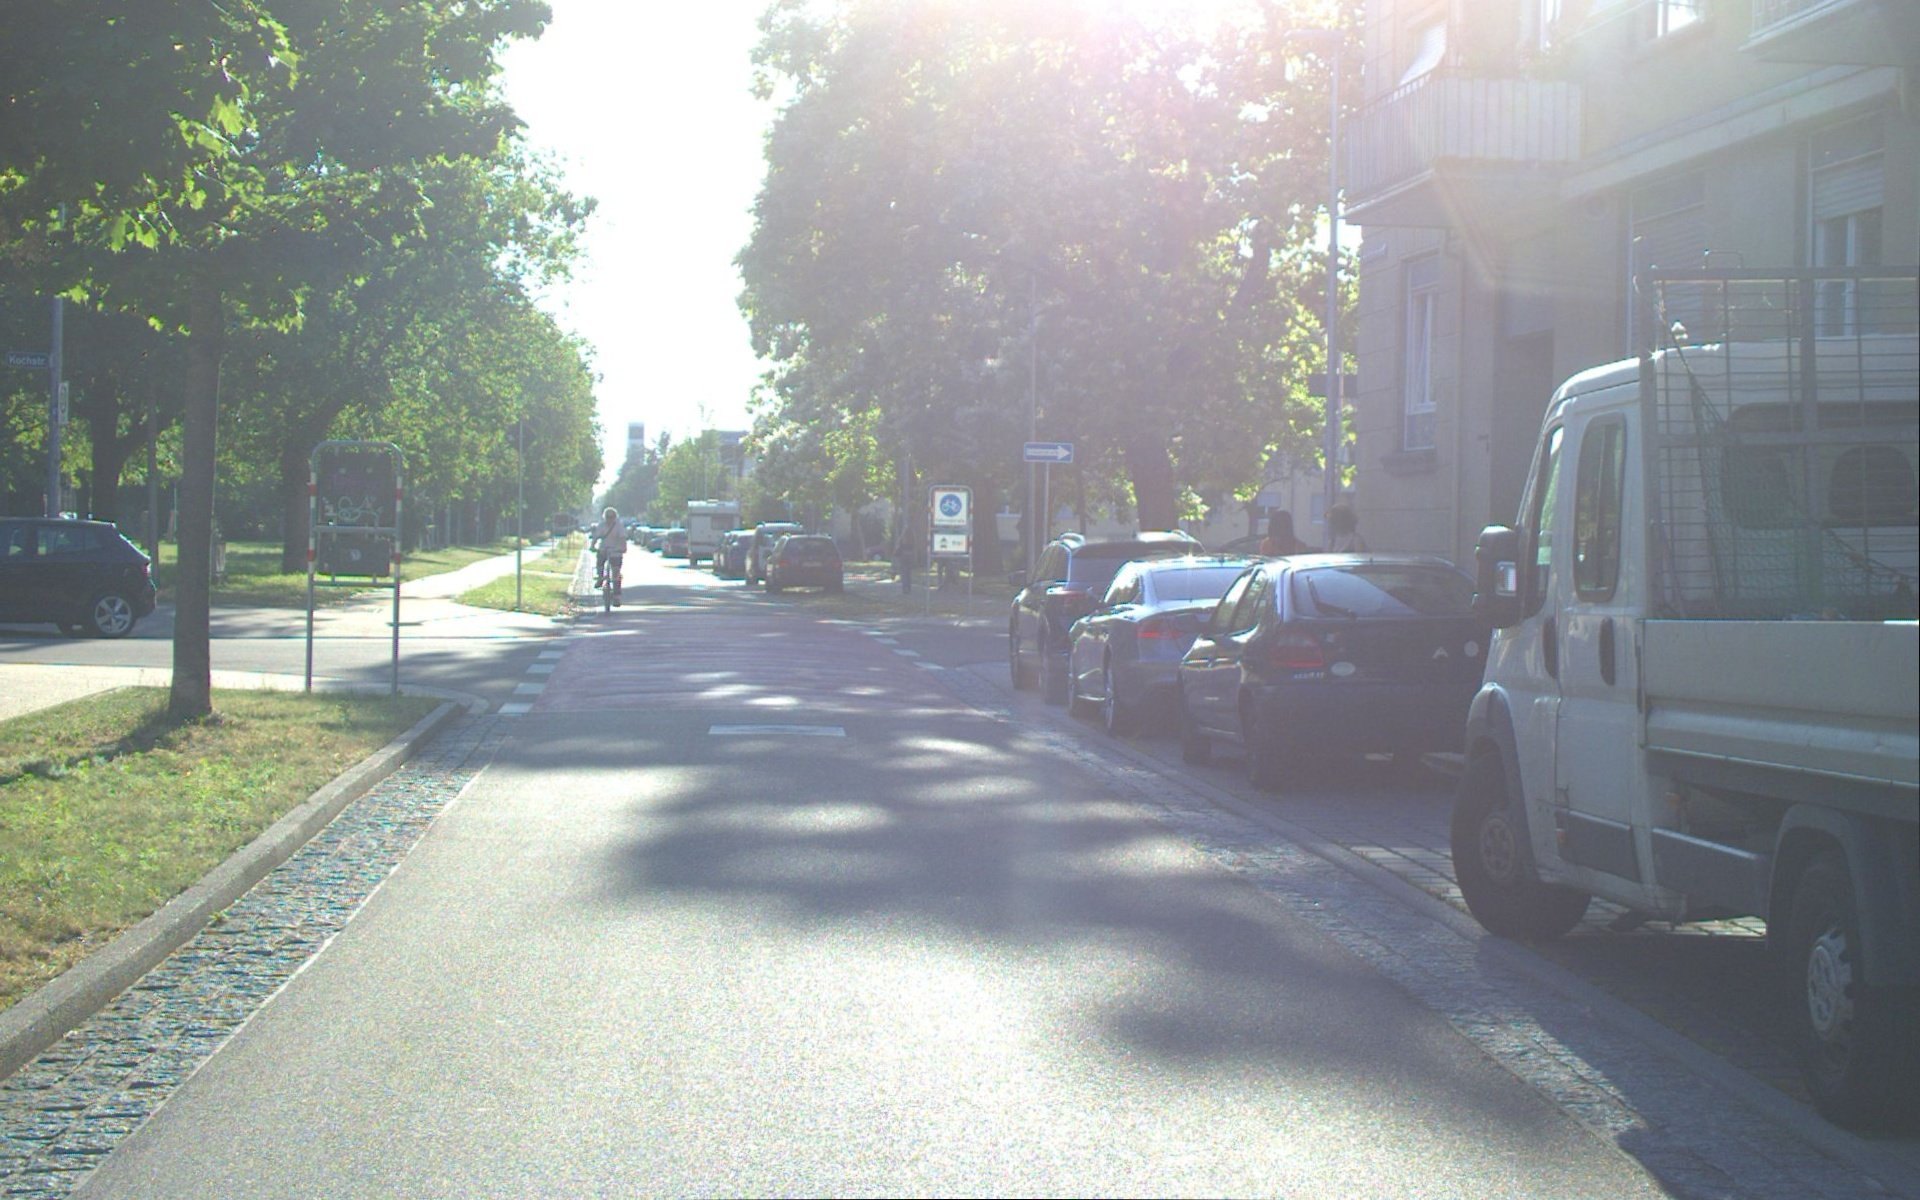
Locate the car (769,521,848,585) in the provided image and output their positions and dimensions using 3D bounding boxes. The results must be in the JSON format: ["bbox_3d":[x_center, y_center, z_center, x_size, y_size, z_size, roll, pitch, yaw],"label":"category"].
[{"bbox_3d":[-3.751,-1.190,85.591,1.793,1.504,4.000,2,1,-1],"label":"car"}]

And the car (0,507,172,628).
[{"bbox_3d":[-11.773,-0.420,41.583,3.987,1.415,1.772,1,1,-31],"label":"car"}]

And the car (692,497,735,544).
[{"bbox_3d":[-10.869,-3.507,151.706,1.793,1.992,4.001,2,1,-3],"label":"car"}]

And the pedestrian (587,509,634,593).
[{"bbox_3d":[-6.062,-0.860,59.663,0.688,1.429,1.024,2,1,-1],"label":"pedestrian"}]

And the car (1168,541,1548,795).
[{"bbox_3d":[2.418,0.369,21.708,1.690,1.435,3.551,0,1,-5],"label":"car"}]

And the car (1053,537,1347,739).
[{"bbox_3d":[1.815,0.244,27.209,1.690,1.435,4.105,0,1,-5],"label":"car"}]

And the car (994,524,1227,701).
[{"bbox_3d":[1.372,0.066,32.787,1.690,1.560,4.105,0,1,-5],"label":"car"}]

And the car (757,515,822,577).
[{"bbox_3d":[-4.957,-1.576,99.700,1.793,1.718,4.001,2,1,-3],"label":"car"}]

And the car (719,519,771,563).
[{"bbox_3d":[-7.616,-2.108,121.954,1.793,1.504,4.001,2,1,-3],"label":"car"}]

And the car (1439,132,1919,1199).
[{"bbox_3d":[3.181,0.105,10.538,2.211,2.521,6.149,-1,1,-3],"label":"car"}]

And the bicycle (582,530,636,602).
[{"bbox_3d":[-6.073,-0.595,59.575,0.688,1.198,2.343,2,1,-1],"label":"bicycle"}]
